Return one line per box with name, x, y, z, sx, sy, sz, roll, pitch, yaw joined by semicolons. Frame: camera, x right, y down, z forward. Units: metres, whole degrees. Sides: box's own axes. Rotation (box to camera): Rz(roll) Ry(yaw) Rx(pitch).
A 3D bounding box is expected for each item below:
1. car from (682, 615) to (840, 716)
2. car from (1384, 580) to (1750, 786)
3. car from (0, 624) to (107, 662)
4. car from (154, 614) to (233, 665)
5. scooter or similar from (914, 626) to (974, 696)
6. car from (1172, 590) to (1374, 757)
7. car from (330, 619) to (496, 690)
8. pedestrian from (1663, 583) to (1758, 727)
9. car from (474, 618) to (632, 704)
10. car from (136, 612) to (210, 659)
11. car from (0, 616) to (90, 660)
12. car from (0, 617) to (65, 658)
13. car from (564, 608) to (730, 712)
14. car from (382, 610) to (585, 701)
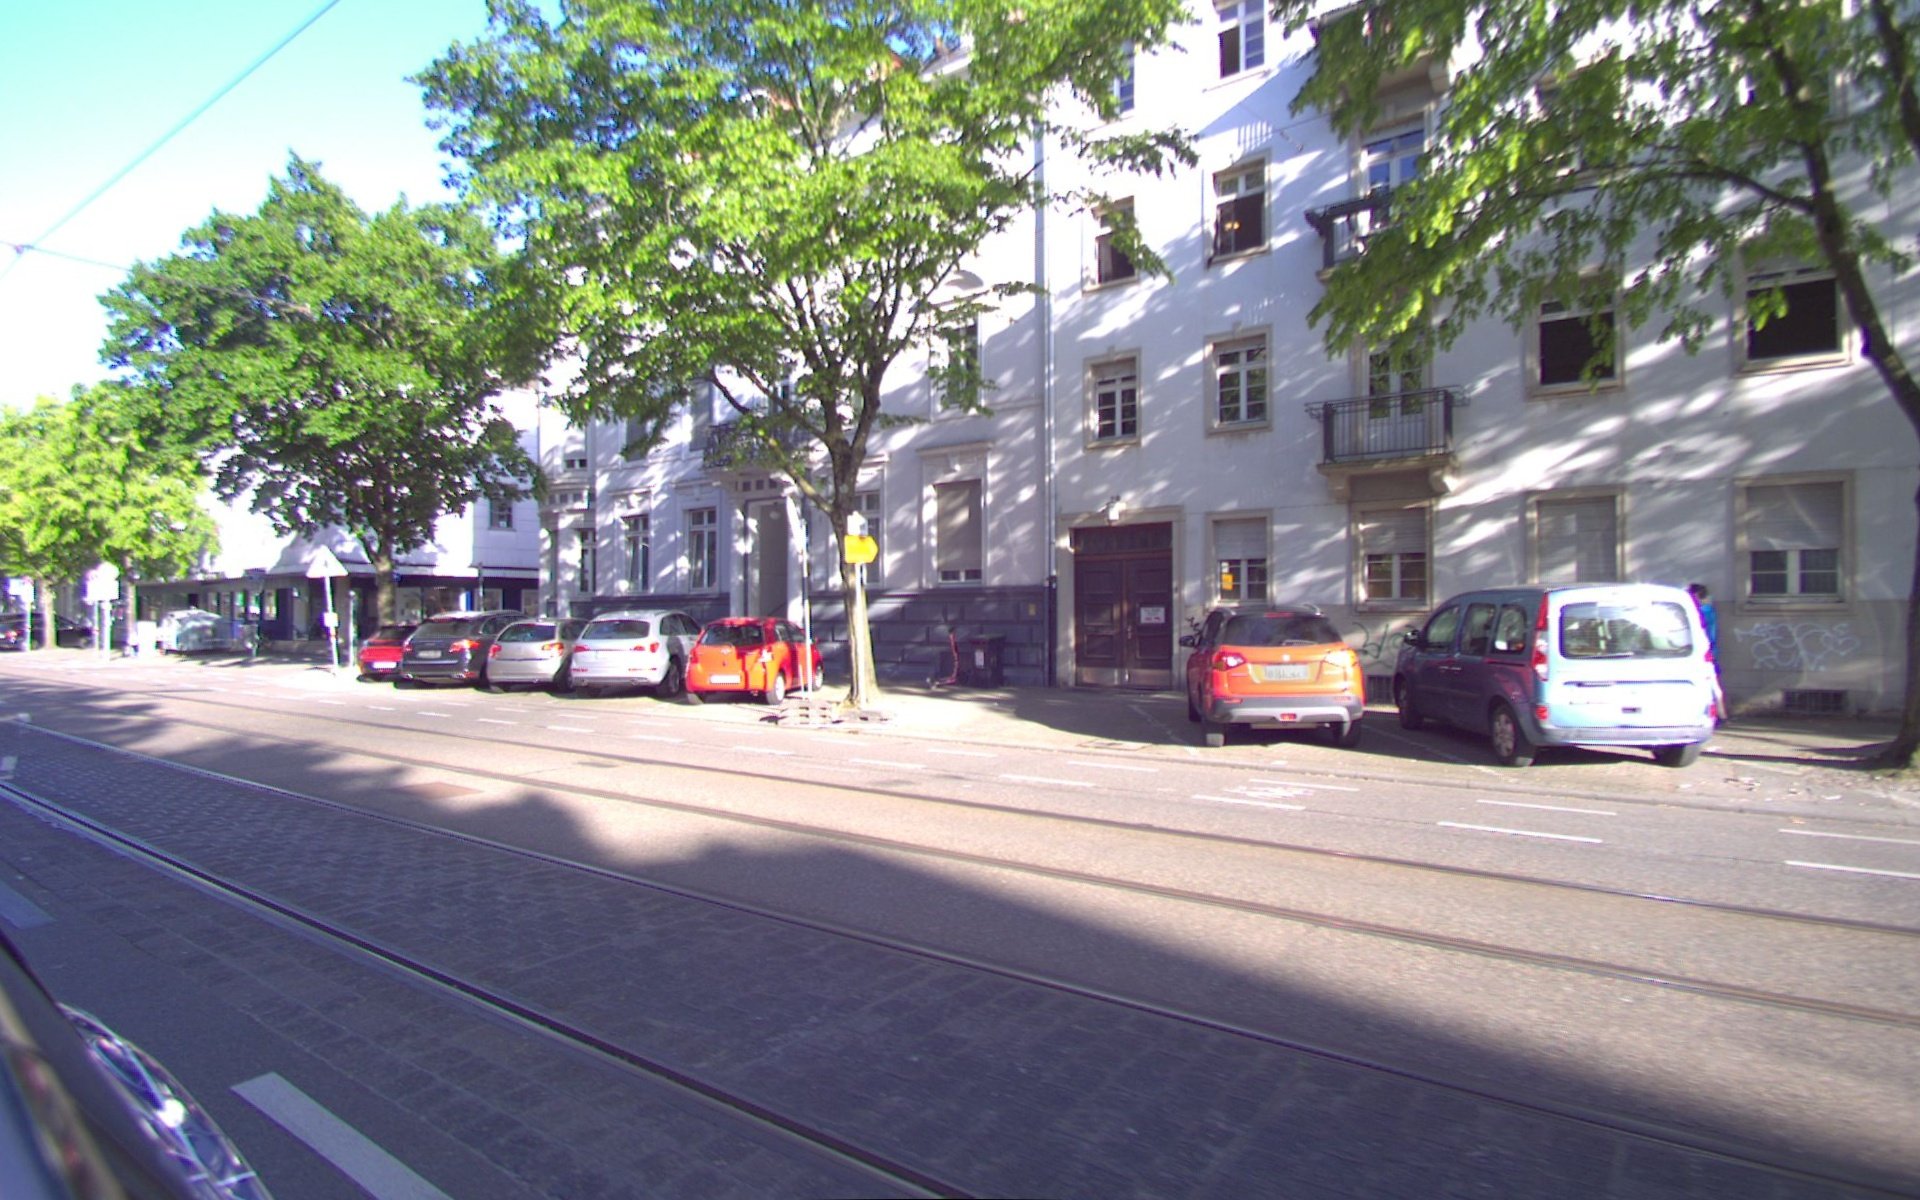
car;-3.596;1.135;19.068;1.621;1.569;4.191;-1;1;8
car;6.342;0.714;11.233;1.763;1.811;4.196;-1;1;4
car;-44.756;2.083;49.685;1.667;1.581;4.059;-1;1;31
car;-30.054;1.512;39.649;3.209;1.912;1.652;-1;-2;37
scooter or similar;-0.341;1.226;20.600;1.285;1.368;0.396;-2;-2;42
car;3.750;0.778;12.829;1.723;1.649;4.191;-2;1;8
car;-13.550;1.295;25.355;1.759;1.497;3.994;-1;1;5
pedestrian;9.290;0.656;12.536;0.870;1.709;0.635;-1;-1;42
car;-8.697;1.246;21.981;1.726;1.531;3.763;-1;1;3
car;-32.819;1.458;42.163;3.209;1.912;1.652;-1;-2;37
car;-46.861;1.918;50.976;1.667;1.965;4.264;-1;1;31
car;-49.413;1.953;52.386;1.667;1.965;4.264;-1;1;31
car;-6.152;1.111;20.427;1.762;1.737;4.196;-1;1;5
car;-10.802;1.188;23.344;1.930;1.727;4.341;-1;1;14
